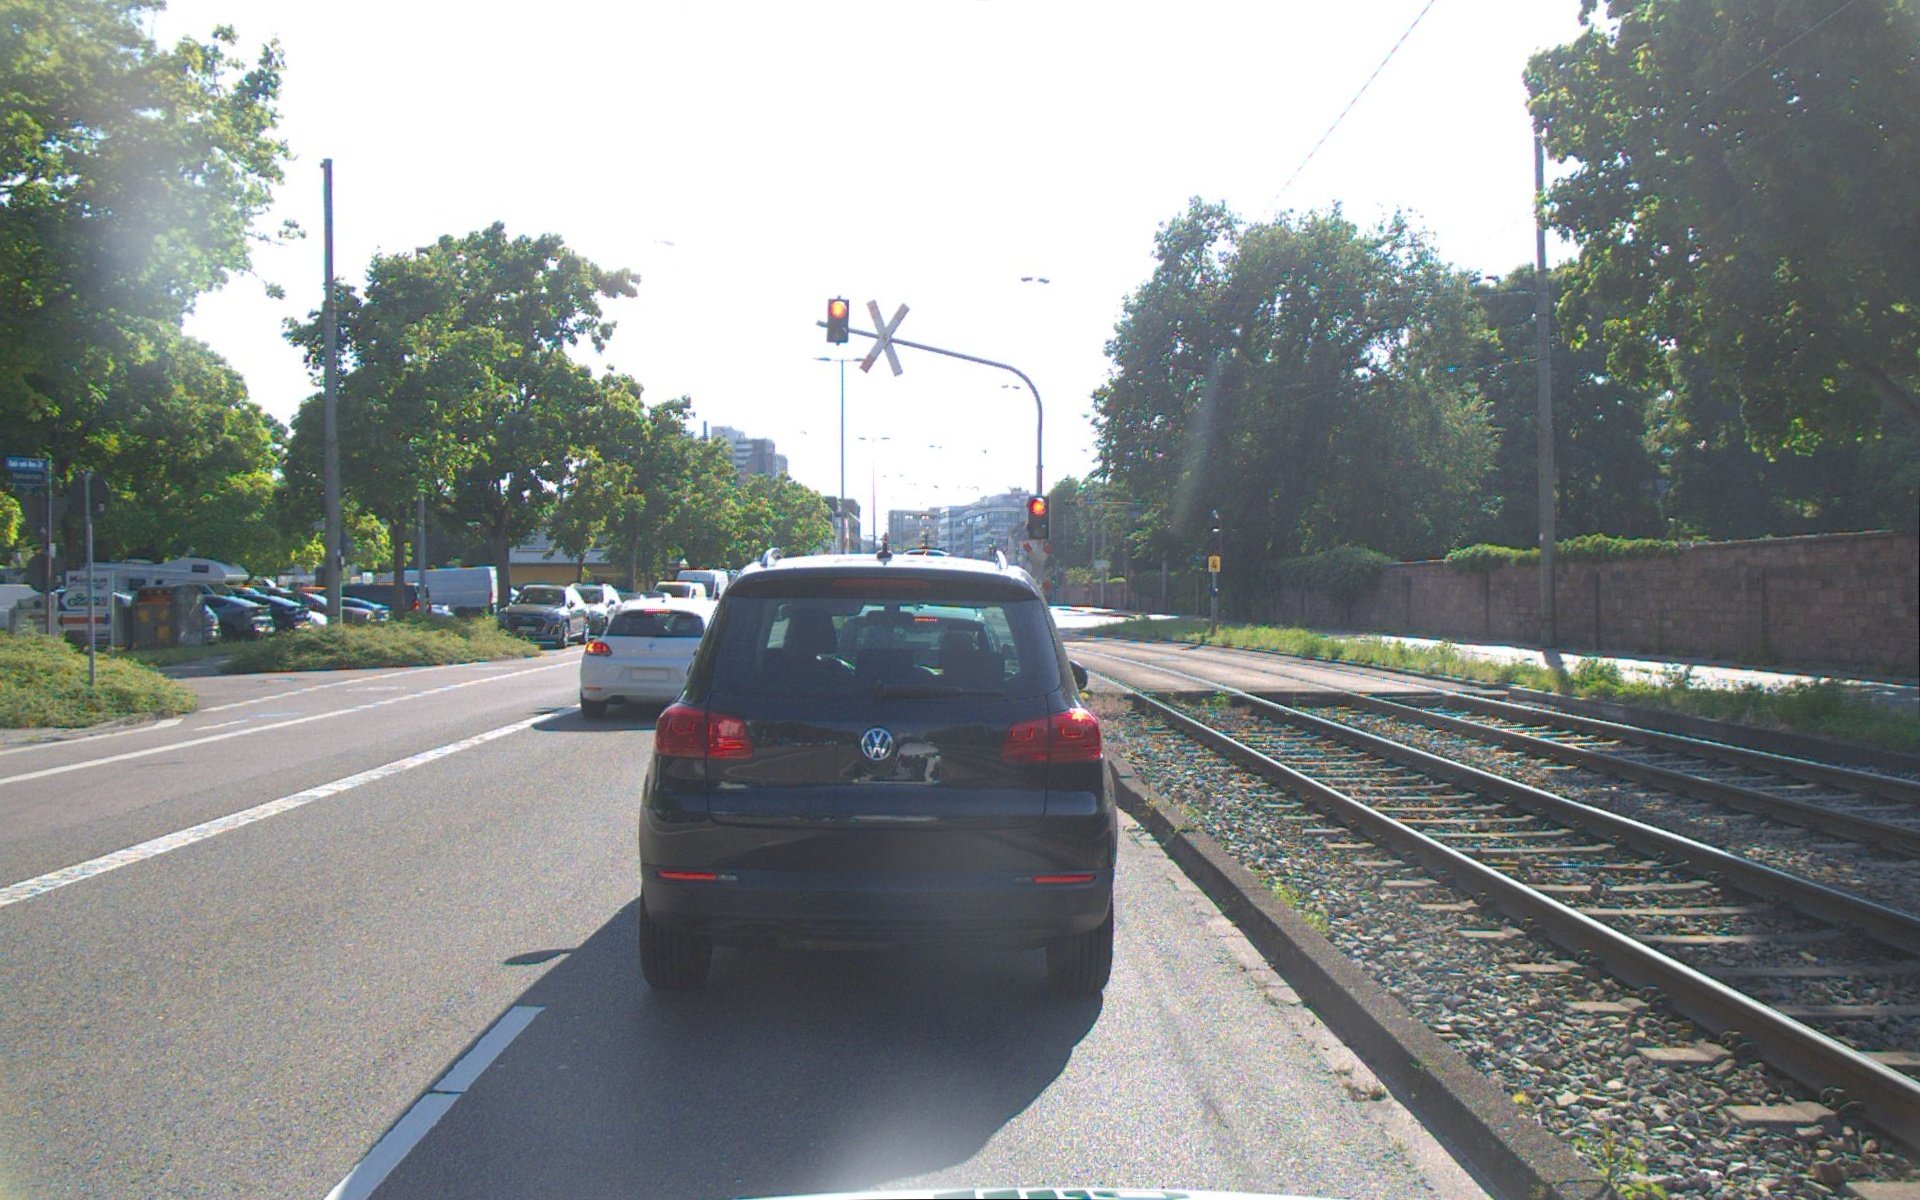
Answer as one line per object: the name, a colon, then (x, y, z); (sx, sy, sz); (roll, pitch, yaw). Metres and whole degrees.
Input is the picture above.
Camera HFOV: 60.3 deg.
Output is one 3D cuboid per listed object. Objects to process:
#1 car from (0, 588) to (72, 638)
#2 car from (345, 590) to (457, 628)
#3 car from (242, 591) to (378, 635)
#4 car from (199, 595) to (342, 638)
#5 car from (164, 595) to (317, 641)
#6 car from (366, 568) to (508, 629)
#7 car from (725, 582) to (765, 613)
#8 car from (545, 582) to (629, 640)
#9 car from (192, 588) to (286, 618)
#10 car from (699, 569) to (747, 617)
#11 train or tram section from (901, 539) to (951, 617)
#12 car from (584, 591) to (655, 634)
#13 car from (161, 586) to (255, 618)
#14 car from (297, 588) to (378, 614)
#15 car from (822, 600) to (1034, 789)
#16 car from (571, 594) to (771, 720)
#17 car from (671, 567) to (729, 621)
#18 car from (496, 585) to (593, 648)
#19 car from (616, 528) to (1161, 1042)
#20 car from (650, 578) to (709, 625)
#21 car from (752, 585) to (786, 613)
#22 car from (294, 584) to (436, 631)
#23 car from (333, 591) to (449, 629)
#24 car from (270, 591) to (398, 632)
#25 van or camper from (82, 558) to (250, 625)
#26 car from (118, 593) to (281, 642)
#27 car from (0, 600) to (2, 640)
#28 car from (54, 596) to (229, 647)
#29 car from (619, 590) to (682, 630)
car: (-33.935, 0.455, 58.695); (3.912, 1.758, 1.624); (-1, 0, -8)
car: (-22.191, 0.347, 65.745); (3.908, 1.422, 1.736); (0, 0, -4)
car: (-21.903, 0.417, 55.864); (3.908, 1.422, 1.736); (0, 0, -4)
car: (-22.321, 0.524, 53.641); (3.908, 1.330, 1.736); (0, 0, -4)
car: (-21.913, 0.546, 50.459); (3.908, 1.330, 1.736); (0, 0, -4)
car: (-21.843, -0.076, 69.247); (5.266, 2.466, 2.087); (0, 0, -1)
car: (-12.288, -0.157, 94.759); (1.696, 1.724, 4.000); (0, 1, 0)
car: (-11.770, 0.325, 52.420); (1.696, 1.724, 4.000); (0, 1, 0)
car: (-35.706, 0.140, 81.982); (3.908, 1.422, 1.736); (0, 0, -4)
car: (-11.869, -0.361, 83.120); (1.696, 2.308, 4.645); (0, 0, 0)
train or tram section: (-1.649, -1.062, 81.874); (2.279, 3.632, 8.898); (0, 0, -1)
car: (-11.994, 0.427, 58.413); (1.696, 1.413, 3.735); (0, 1, 0)
car: (-34.894, 0.079, 76.826); (3.591, 1.422, 1.736); (0, 0, -4)
car: (-35.327, 0.057, 93.906); (3.908, 1.422, 1.736); (0, 0, -4)
car: (-0.277, 0.733, 14.848); (1.635, 1.411, 3.999); (0, 0, -1)
car: (-3.455, 0.634, 20.482); (1.827, 1.371, 3.999); (0, 0, -1)
car: (-11.956, -0.272, 76.289); (1.825, 2.388, 4.985); (0, 0, 0)
car: (-11.634, 0.419, 46.562); (1.696, 1.686, 4.000); (0, 0, 0)
car: (-0.261, 0.609, 7.446); (1.774, 1.673, 3.999); (1, 0, -1)
car: (-11.774, 0.050, 69.618); (1.696, 1.892, 4.489); (0, 0, 0)
car: (-12.257, -0.064, 106.145); (1.696, 1.724, 4.000); (0, 1, 0)
car: (-21.986, 0.253, 61.218); (4.526, 1.680, 2.048); (0, 0, -3)
car: (-21.890, 0.367, 63.723); (3.908, 1.422, 1.736); (0, 0, -4)
car: (-22.225, 0.395, 58.825); (3.908, 1.422, 1.736); (0, 0, -4)
van or camper: (-35.310, -0.375, 73.649); (6.332, 2.918, 2.307); (0, 0, -1)
car: (-21.917, 0.484, 47.771); (3.908, 1.330, 1.736); (0, 0, -4)
car: (-35.039, 0.698, 56.359); (3.903, 1.384, 1.628); (0, 0, 4)
car: (-22.396, 0.572, 45.350); (3.908, 1.330, 1.736); (0, 0, -4)
car: (-11.991, 0.365, 64.296); (1.696, 1.475, 3.735); (0, 1, 0)
